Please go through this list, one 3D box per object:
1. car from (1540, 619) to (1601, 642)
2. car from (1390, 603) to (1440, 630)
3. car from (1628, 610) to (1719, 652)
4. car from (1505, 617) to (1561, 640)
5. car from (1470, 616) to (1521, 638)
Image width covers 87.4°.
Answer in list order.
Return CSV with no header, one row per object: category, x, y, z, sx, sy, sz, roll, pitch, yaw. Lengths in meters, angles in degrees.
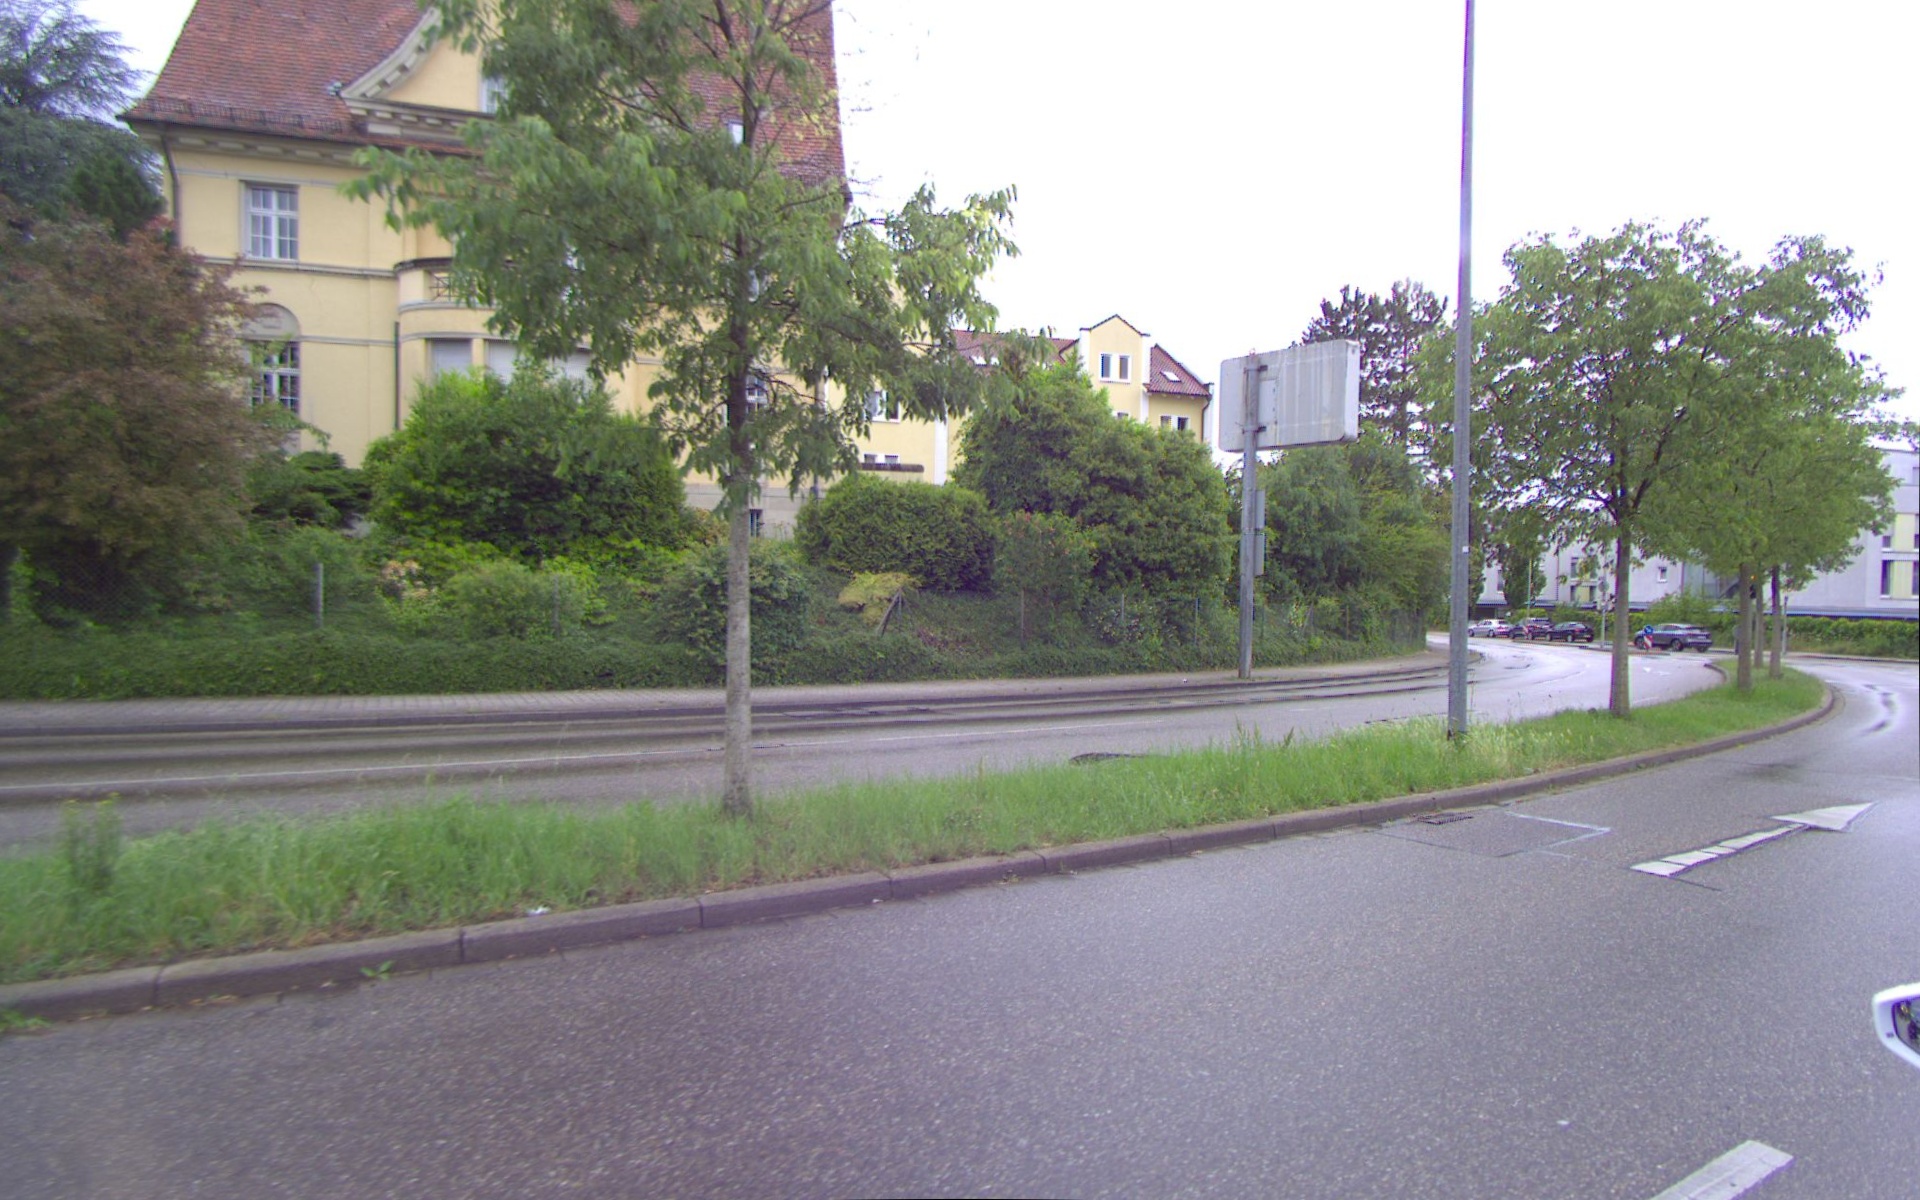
car,44.925,2.236,74.035,1.961,1.576,3.998,0,0,-2
car,44.640,1.656,98.736,2.549,2.445,5.257,1,-2,0
car,42.057,1.794,59.347,1.947,2.041,3.987,0,4,-14
car,44.776,2.209,78.601,1.961,1.576,3.998,2,1,-2
car,44.341,2.183,83.303,1.961,1.576,3.998,2,1,-2
